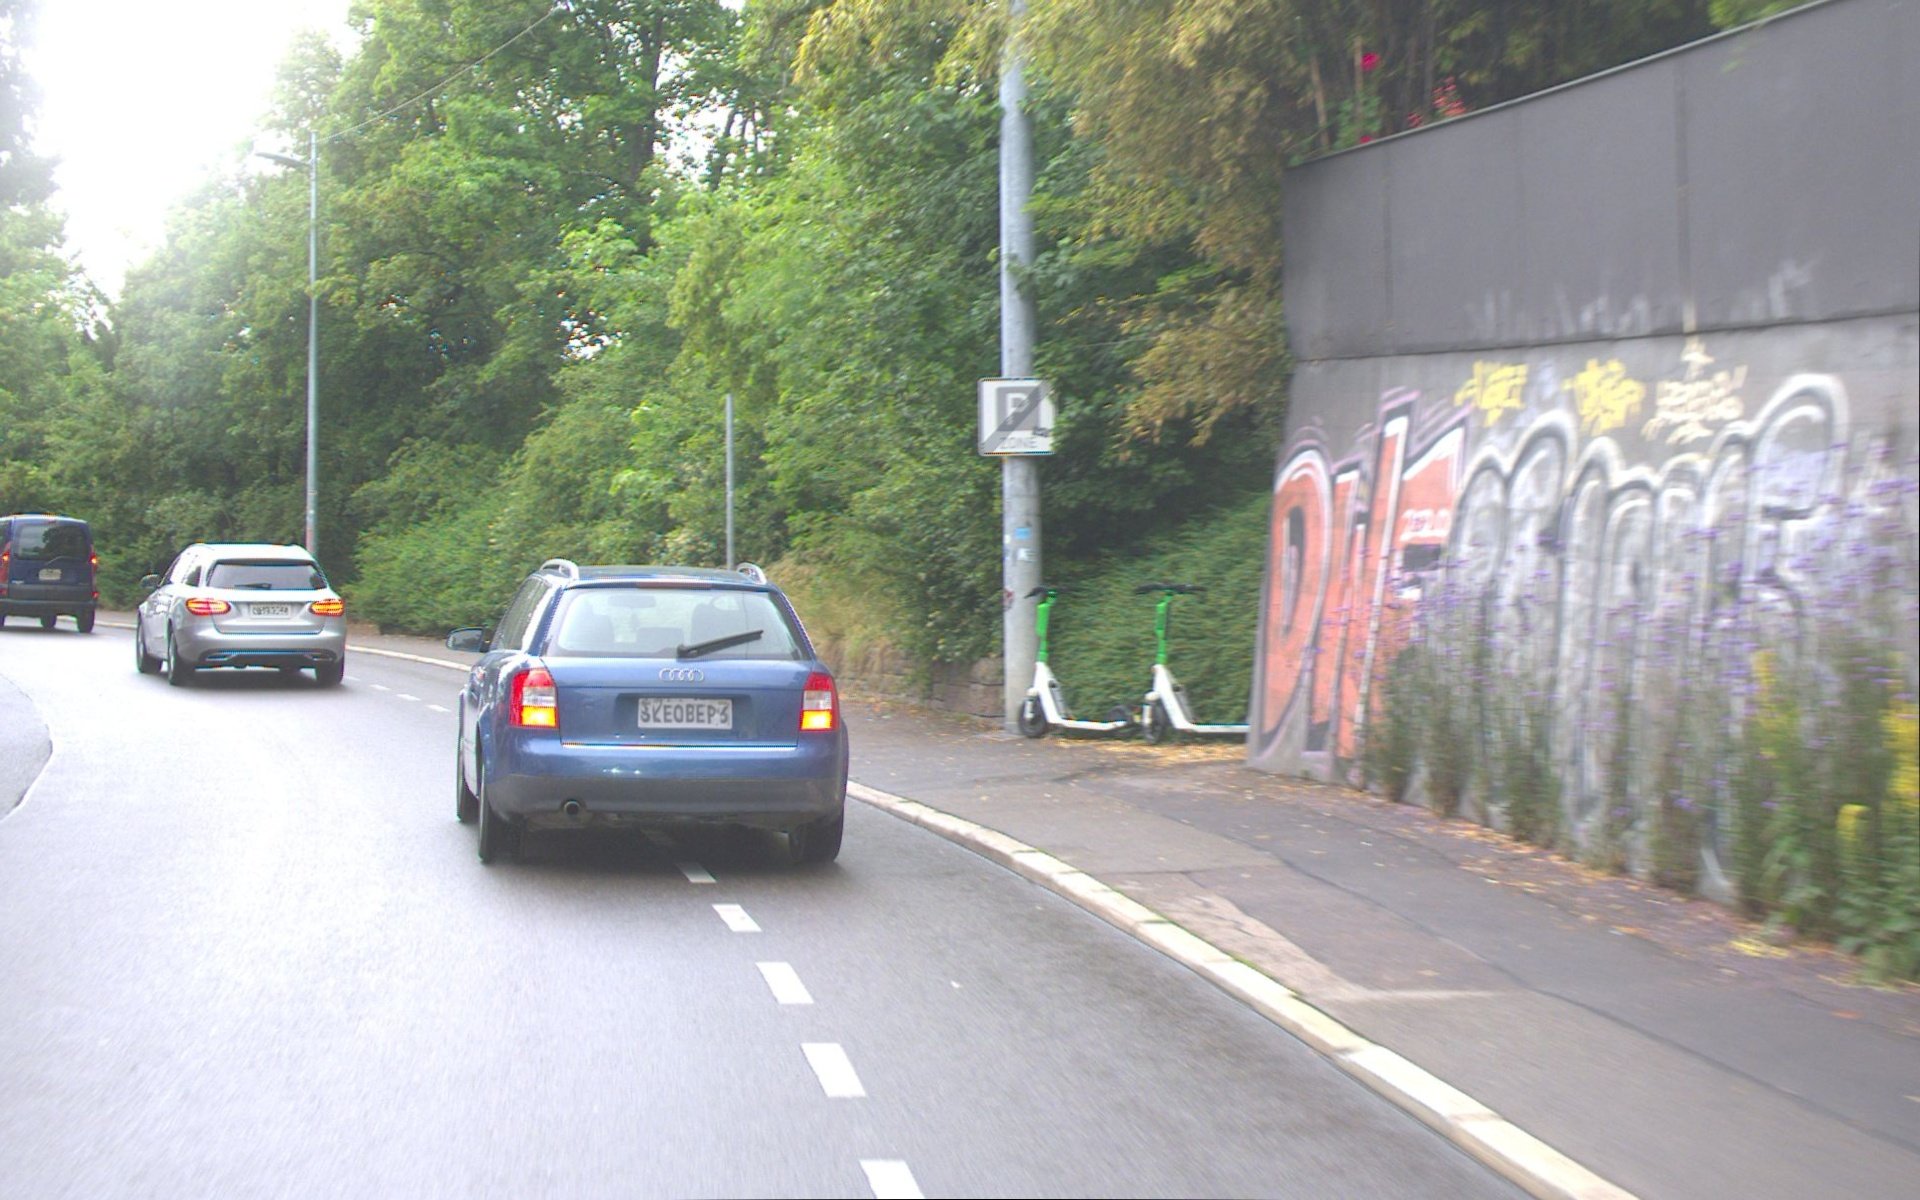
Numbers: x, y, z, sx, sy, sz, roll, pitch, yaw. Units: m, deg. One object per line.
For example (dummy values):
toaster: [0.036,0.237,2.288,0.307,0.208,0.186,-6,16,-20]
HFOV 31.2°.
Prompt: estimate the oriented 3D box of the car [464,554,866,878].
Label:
car: [-1.600,0.501,17.400,1.747,1.403,4.001,1,1,-8]

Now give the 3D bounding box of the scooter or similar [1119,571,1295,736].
scooter or similar: [1.728,0.364,24.179,0.346,1.113,1.422,1,0,-39]

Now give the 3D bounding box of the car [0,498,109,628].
car: [-15.126,-0.578,55.434,1.788,1.947,4.000,-3,1,-27]

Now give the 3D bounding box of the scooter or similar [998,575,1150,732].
scooter or similar: [0.831,0.381,25.377,0.346,1.113,1.422,1,0,-34]

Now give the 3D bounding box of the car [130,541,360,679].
car: [-7.718,0.079,36.855,1.890,1.384,4.001,1,1,-19]
